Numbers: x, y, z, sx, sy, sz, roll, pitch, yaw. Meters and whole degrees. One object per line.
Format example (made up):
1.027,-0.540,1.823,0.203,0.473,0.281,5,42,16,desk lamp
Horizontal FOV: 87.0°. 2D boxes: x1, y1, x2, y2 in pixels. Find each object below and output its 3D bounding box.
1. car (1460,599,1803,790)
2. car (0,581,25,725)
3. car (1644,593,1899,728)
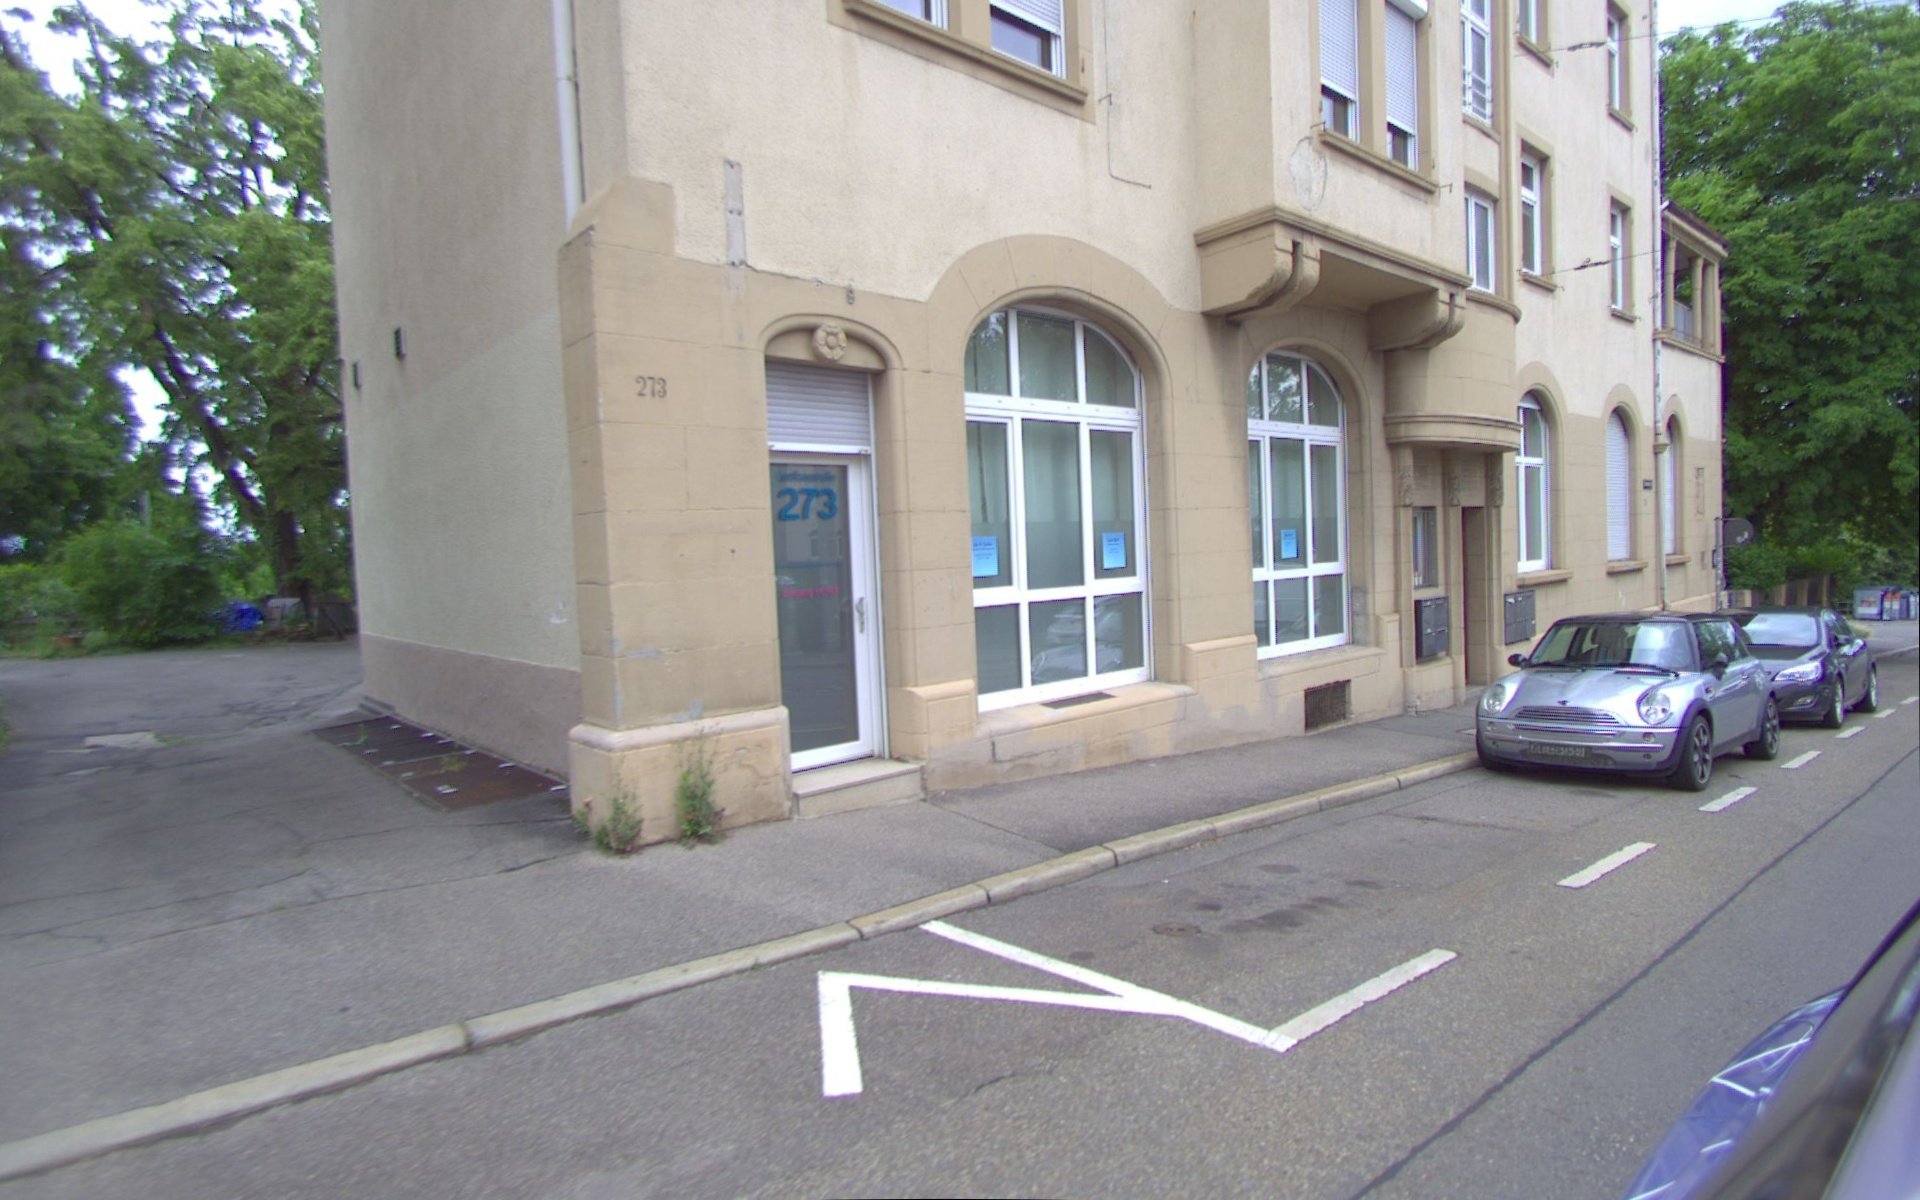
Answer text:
6.323,0.732,9.405,3.602,1.422,1.698,0,-2,-40,car
-13.701,0.630,13.332,1.801,1.630,4.214,0,2,-40,car
10.564,0.674,13.079,4.095,1.421,1.842,-1,-1,-41,car
